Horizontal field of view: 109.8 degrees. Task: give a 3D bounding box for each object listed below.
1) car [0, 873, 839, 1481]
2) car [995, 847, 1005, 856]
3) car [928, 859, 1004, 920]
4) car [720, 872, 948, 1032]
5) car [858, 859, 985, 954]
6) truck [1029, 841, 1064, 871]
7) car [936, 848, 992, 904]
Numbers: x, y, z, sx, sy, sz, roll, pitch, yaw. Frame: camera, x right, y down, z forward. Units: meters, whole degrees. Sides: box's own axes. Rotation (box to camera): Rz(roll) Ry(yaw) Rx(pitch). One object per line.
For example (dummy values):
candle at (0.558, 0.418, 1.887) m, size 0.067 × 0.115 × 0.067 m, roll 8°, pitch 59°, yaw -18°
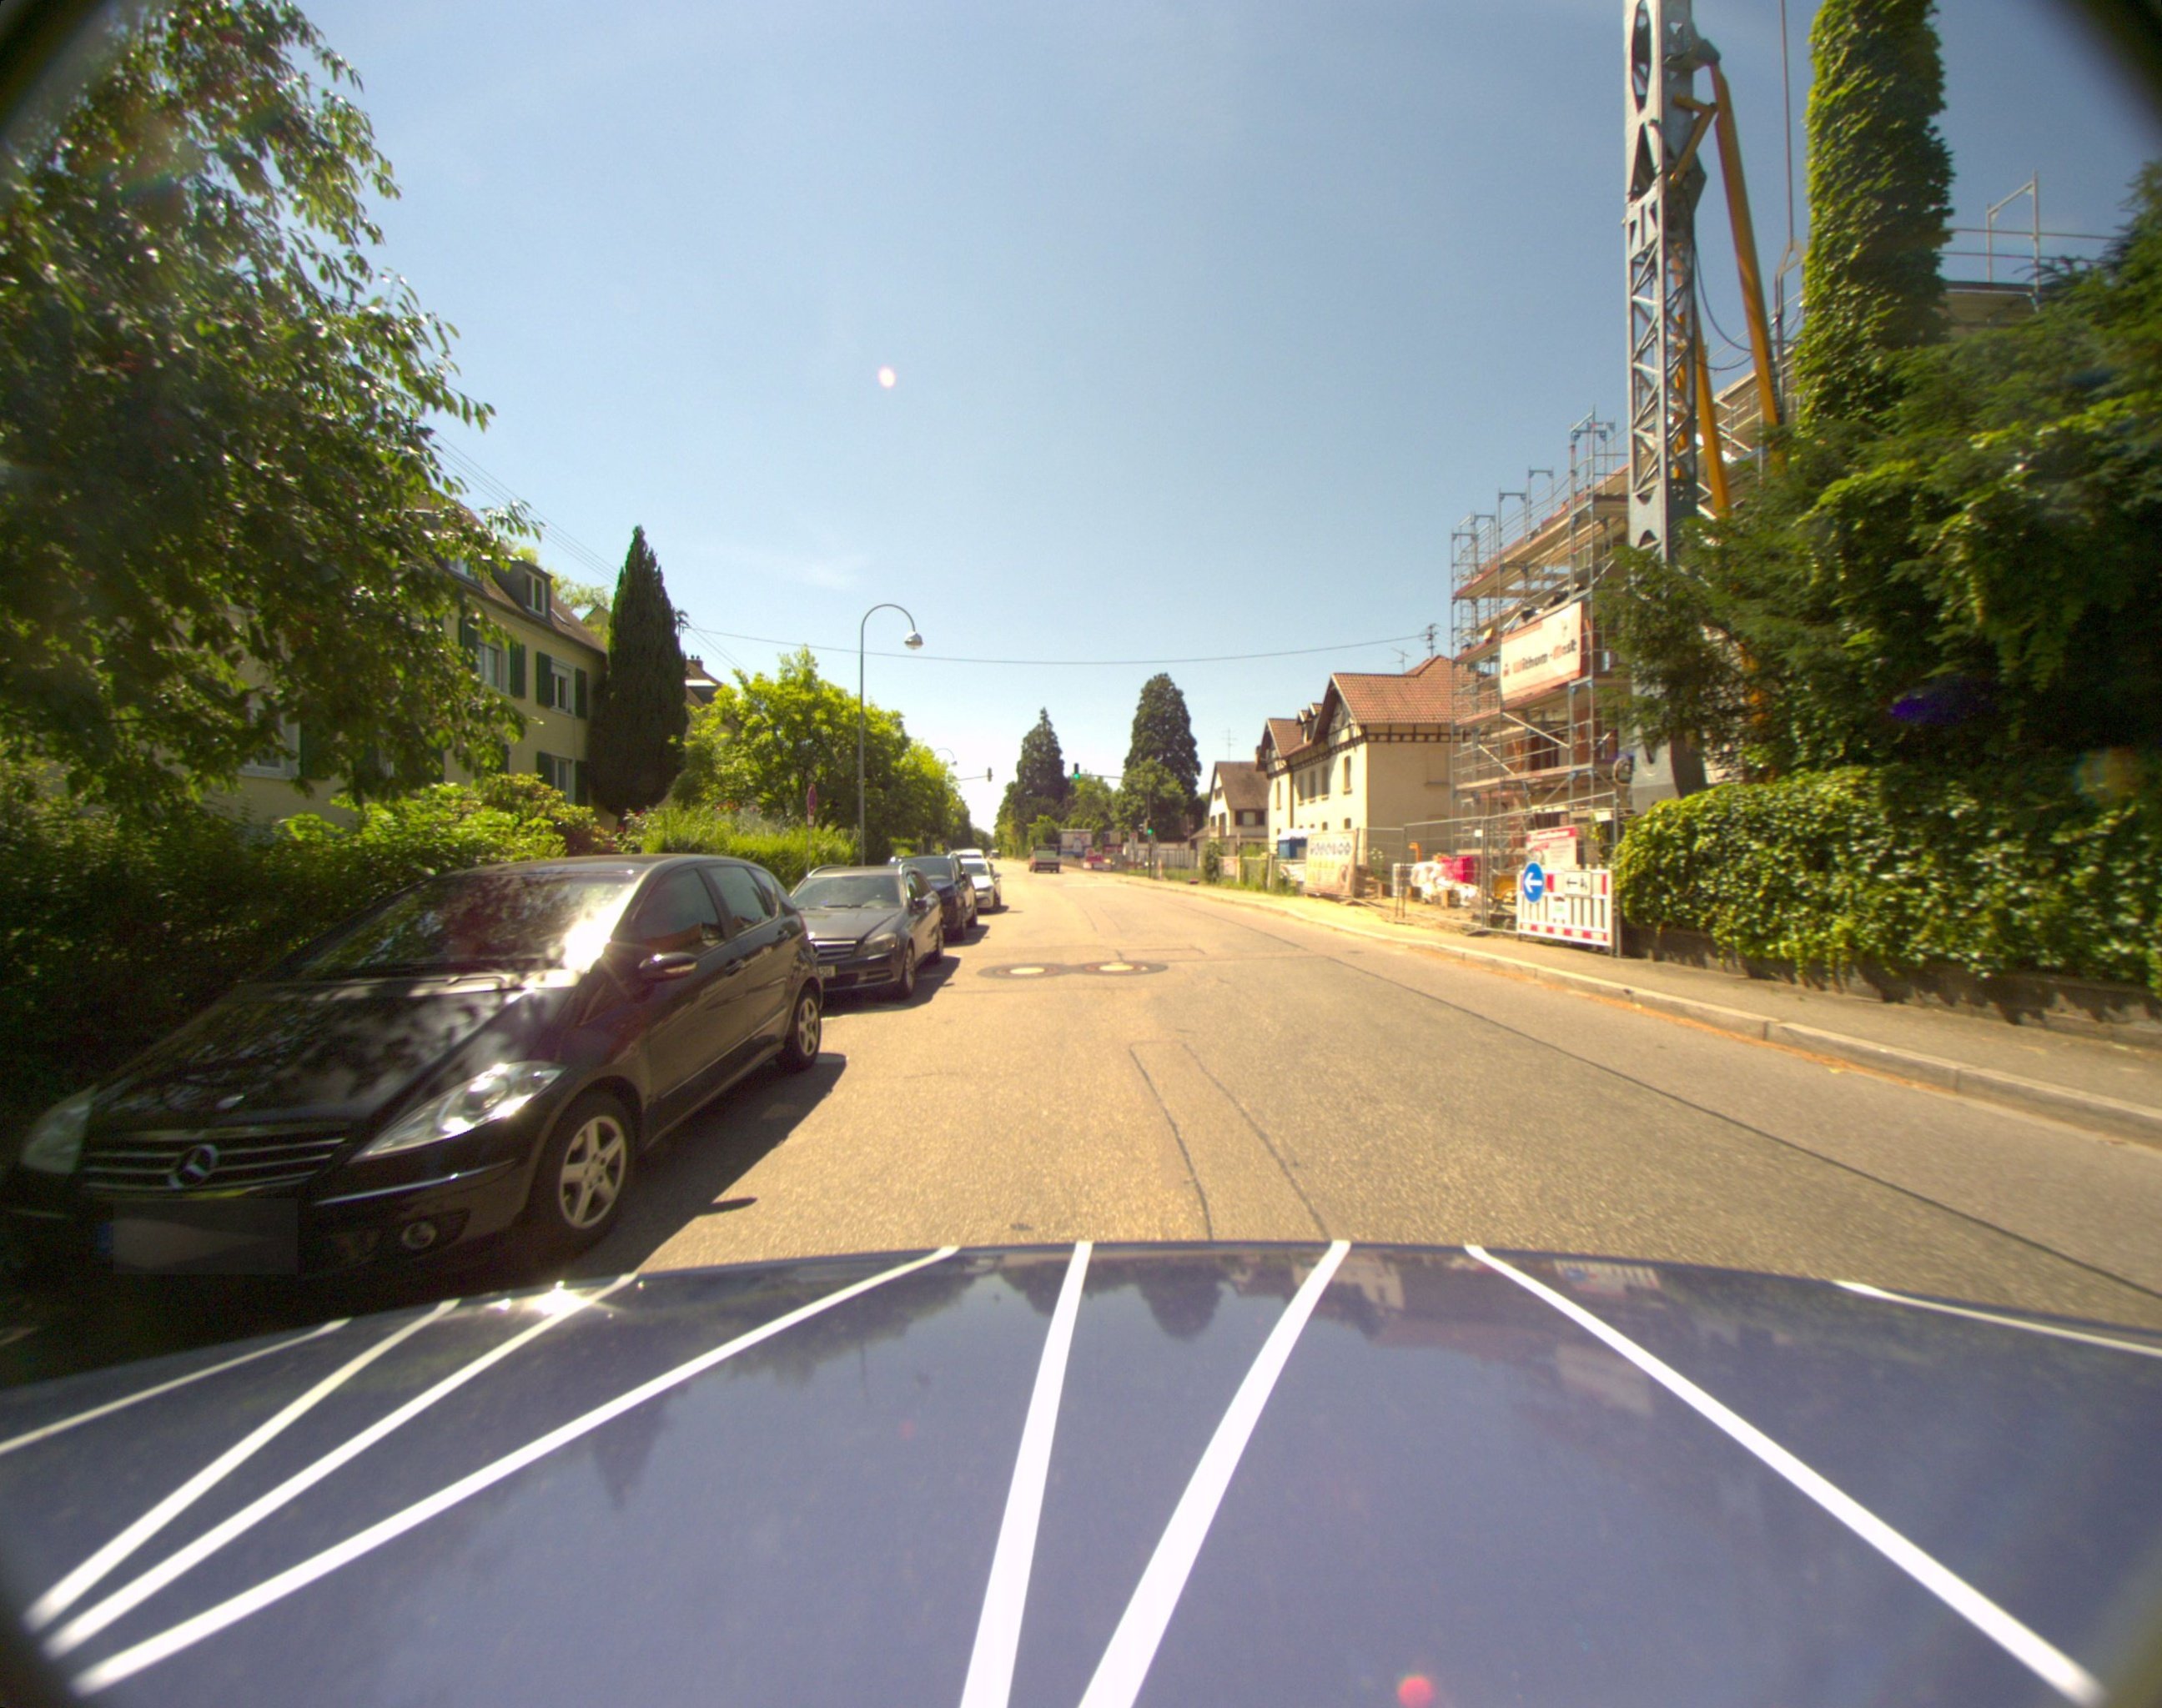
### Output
car at (-2.730, 0.932, 4.068) m, size 1.585 × 1.566 × 4.008 m, roll -1°, pitch 0°, yaw 0°
car at (-14.764, -0.378, 137.668) m, size 1.658 × 1.553 × 3.882 m, roll 2°, pitch 0°, yaw -8°
car at (-3.124, 0.908, 21.420) m, size 1.666 × 1.427 × 4.127 m, roll -2°, pitch 1°, yaw -3°
car at (-2.755, 0.997, 9.472) m, size 1.666 × 1.423 × 4.202 m, roll 0°, pitch 0°, yaw -3°
car at (-2.948, 0.890, 14.876) m, size 1.666 × 1.529 × 4.203 m, roll -1°, pitch 0°, yaw -1°
truck at (-2.953, 0.191, 63.499) m, size 2.135 × 2.325 × 6.429 m, roll 1°, pitch 0°, yaw -10°
car at (-4.154, 0.728, 27.478) m, size 1.666 × 1.793 × 4.200 m, roll -2°, pitch 1°, yaw -5°
